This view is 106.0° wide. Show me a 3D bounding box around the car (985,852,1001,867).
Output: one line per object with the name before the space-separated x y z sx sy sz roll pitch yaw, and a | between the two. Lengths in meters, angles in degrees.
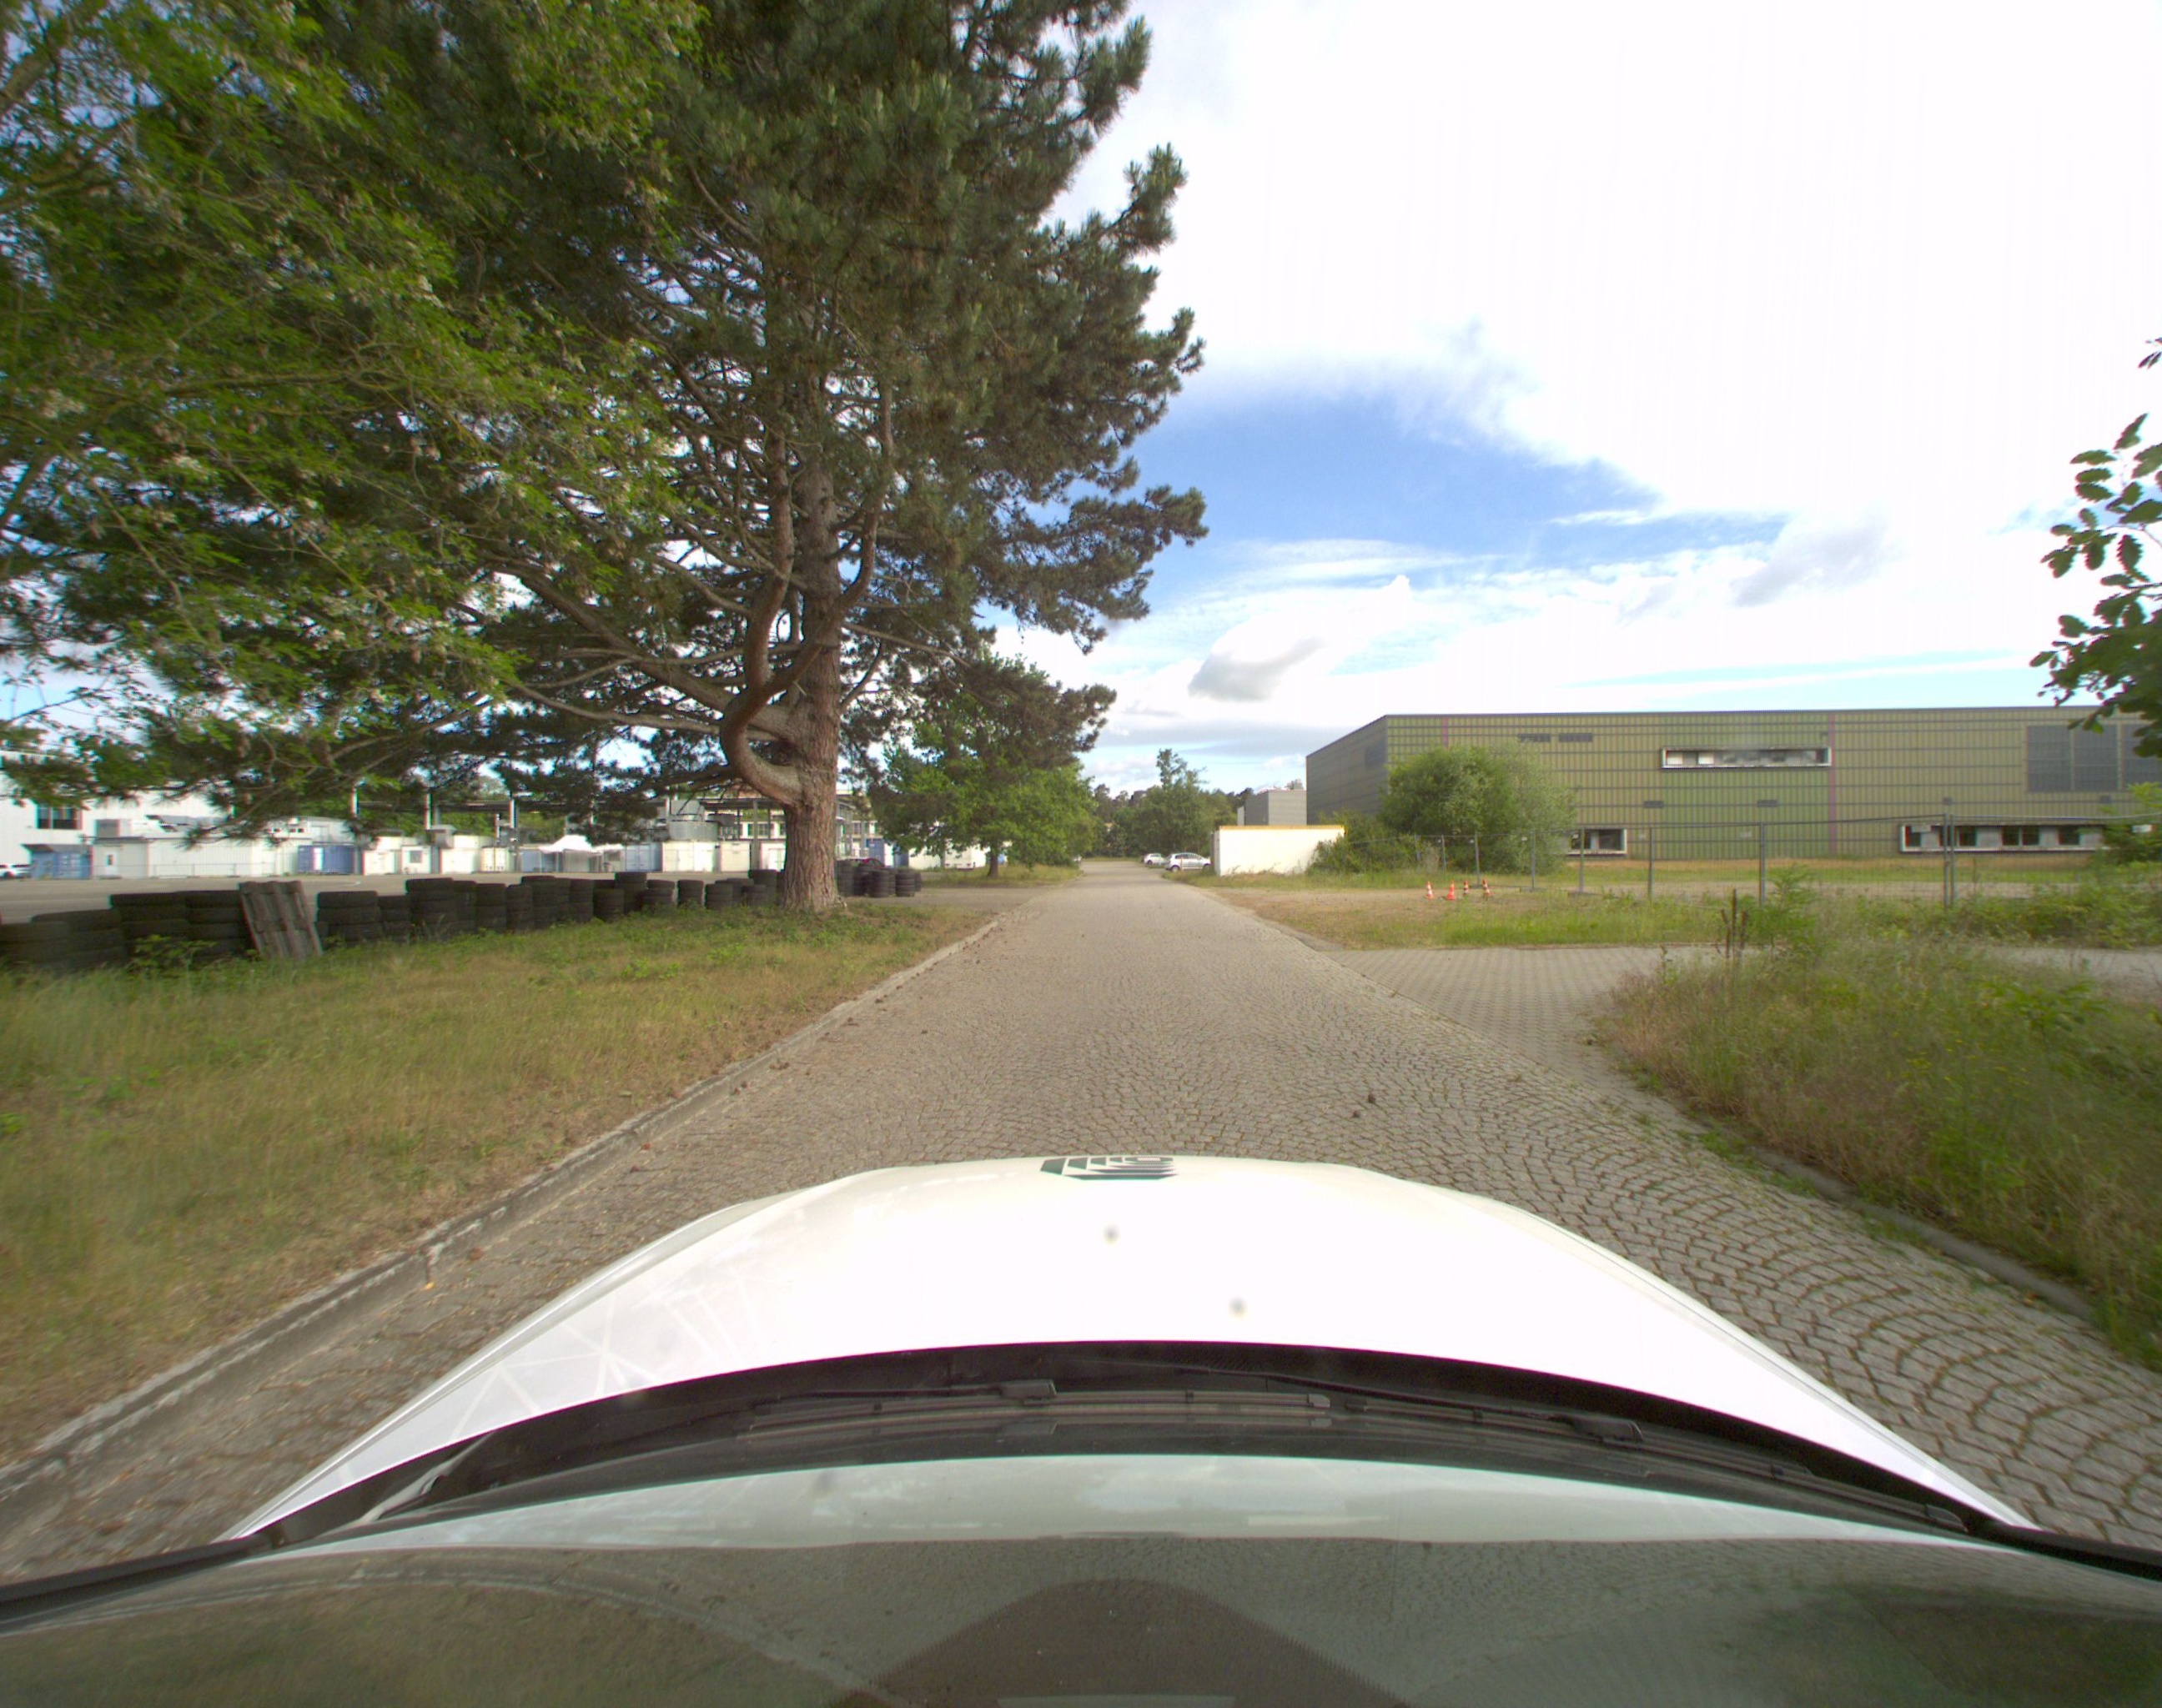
car | -12.869 0.816 119.279 1.919 2.047 4.599 0 0 0

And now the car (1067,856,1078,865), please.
car | -1.350 1.011 130.991 1.729 1.469 4.045 0 0 0

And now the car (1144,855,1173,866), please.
car | 10.606 0.844 111.596 4.008 1.502 1.549 0 0 2

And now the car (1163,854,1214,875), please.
car | 8.604 0.832 65.459 3.838 1.654 1.685 0 0 -1

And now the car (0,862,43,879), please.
car | -99.266 1.505 75.478 3.954 1.533 1.630 0 0 0

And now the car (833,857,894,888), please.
car | -10.950 0.905 41.188 1.757 1.453 3.496 -1 0 8

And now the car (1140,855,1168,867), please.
car | 10.500 0.981 117.157 3.975 1.601 1.728 0 0 -1

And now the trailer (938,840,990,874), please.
trailer | -11.165 0.275 78.681 3.144 3.067 8.793 0 0 4
